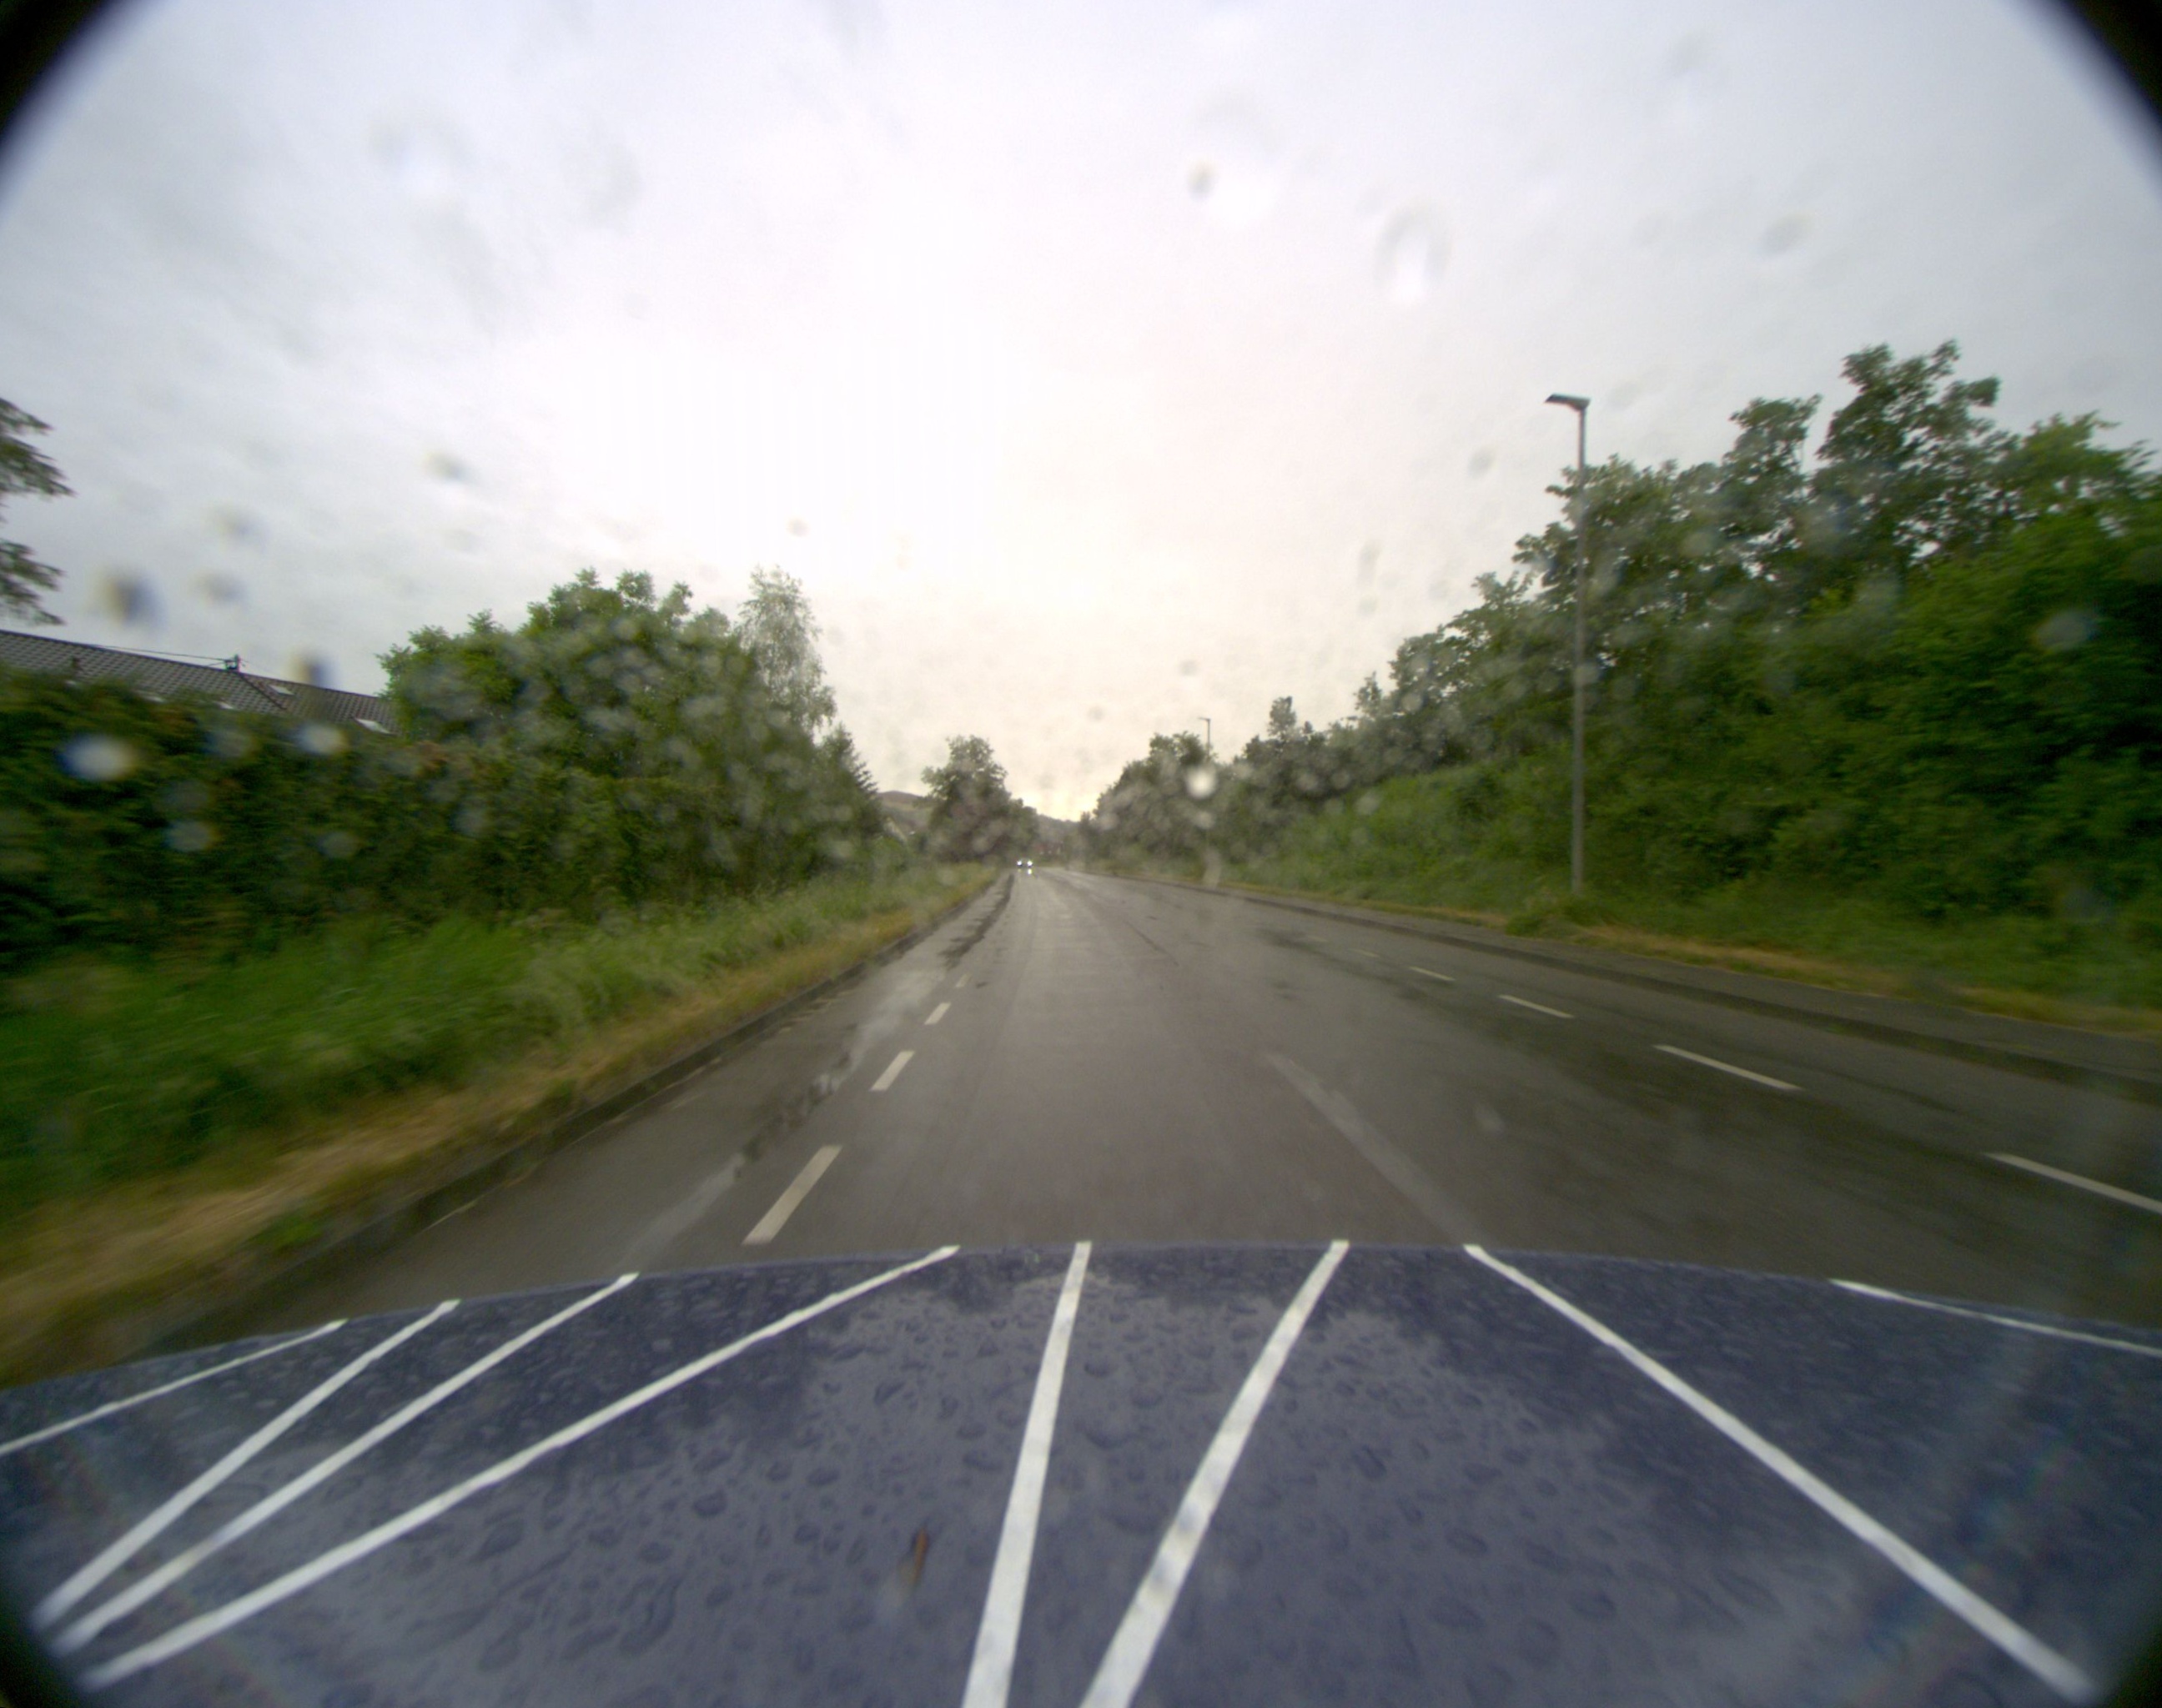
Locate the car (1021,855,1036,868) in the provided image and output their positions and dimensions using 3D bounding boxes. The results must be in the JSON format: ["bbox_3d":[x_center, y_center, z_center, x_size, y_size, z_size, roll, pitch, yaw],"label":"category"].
[{"bbox_3d":[-7.177,1.033,104.354,1.999,1.831,3.999,0,0,-4],"label":"car"}]
